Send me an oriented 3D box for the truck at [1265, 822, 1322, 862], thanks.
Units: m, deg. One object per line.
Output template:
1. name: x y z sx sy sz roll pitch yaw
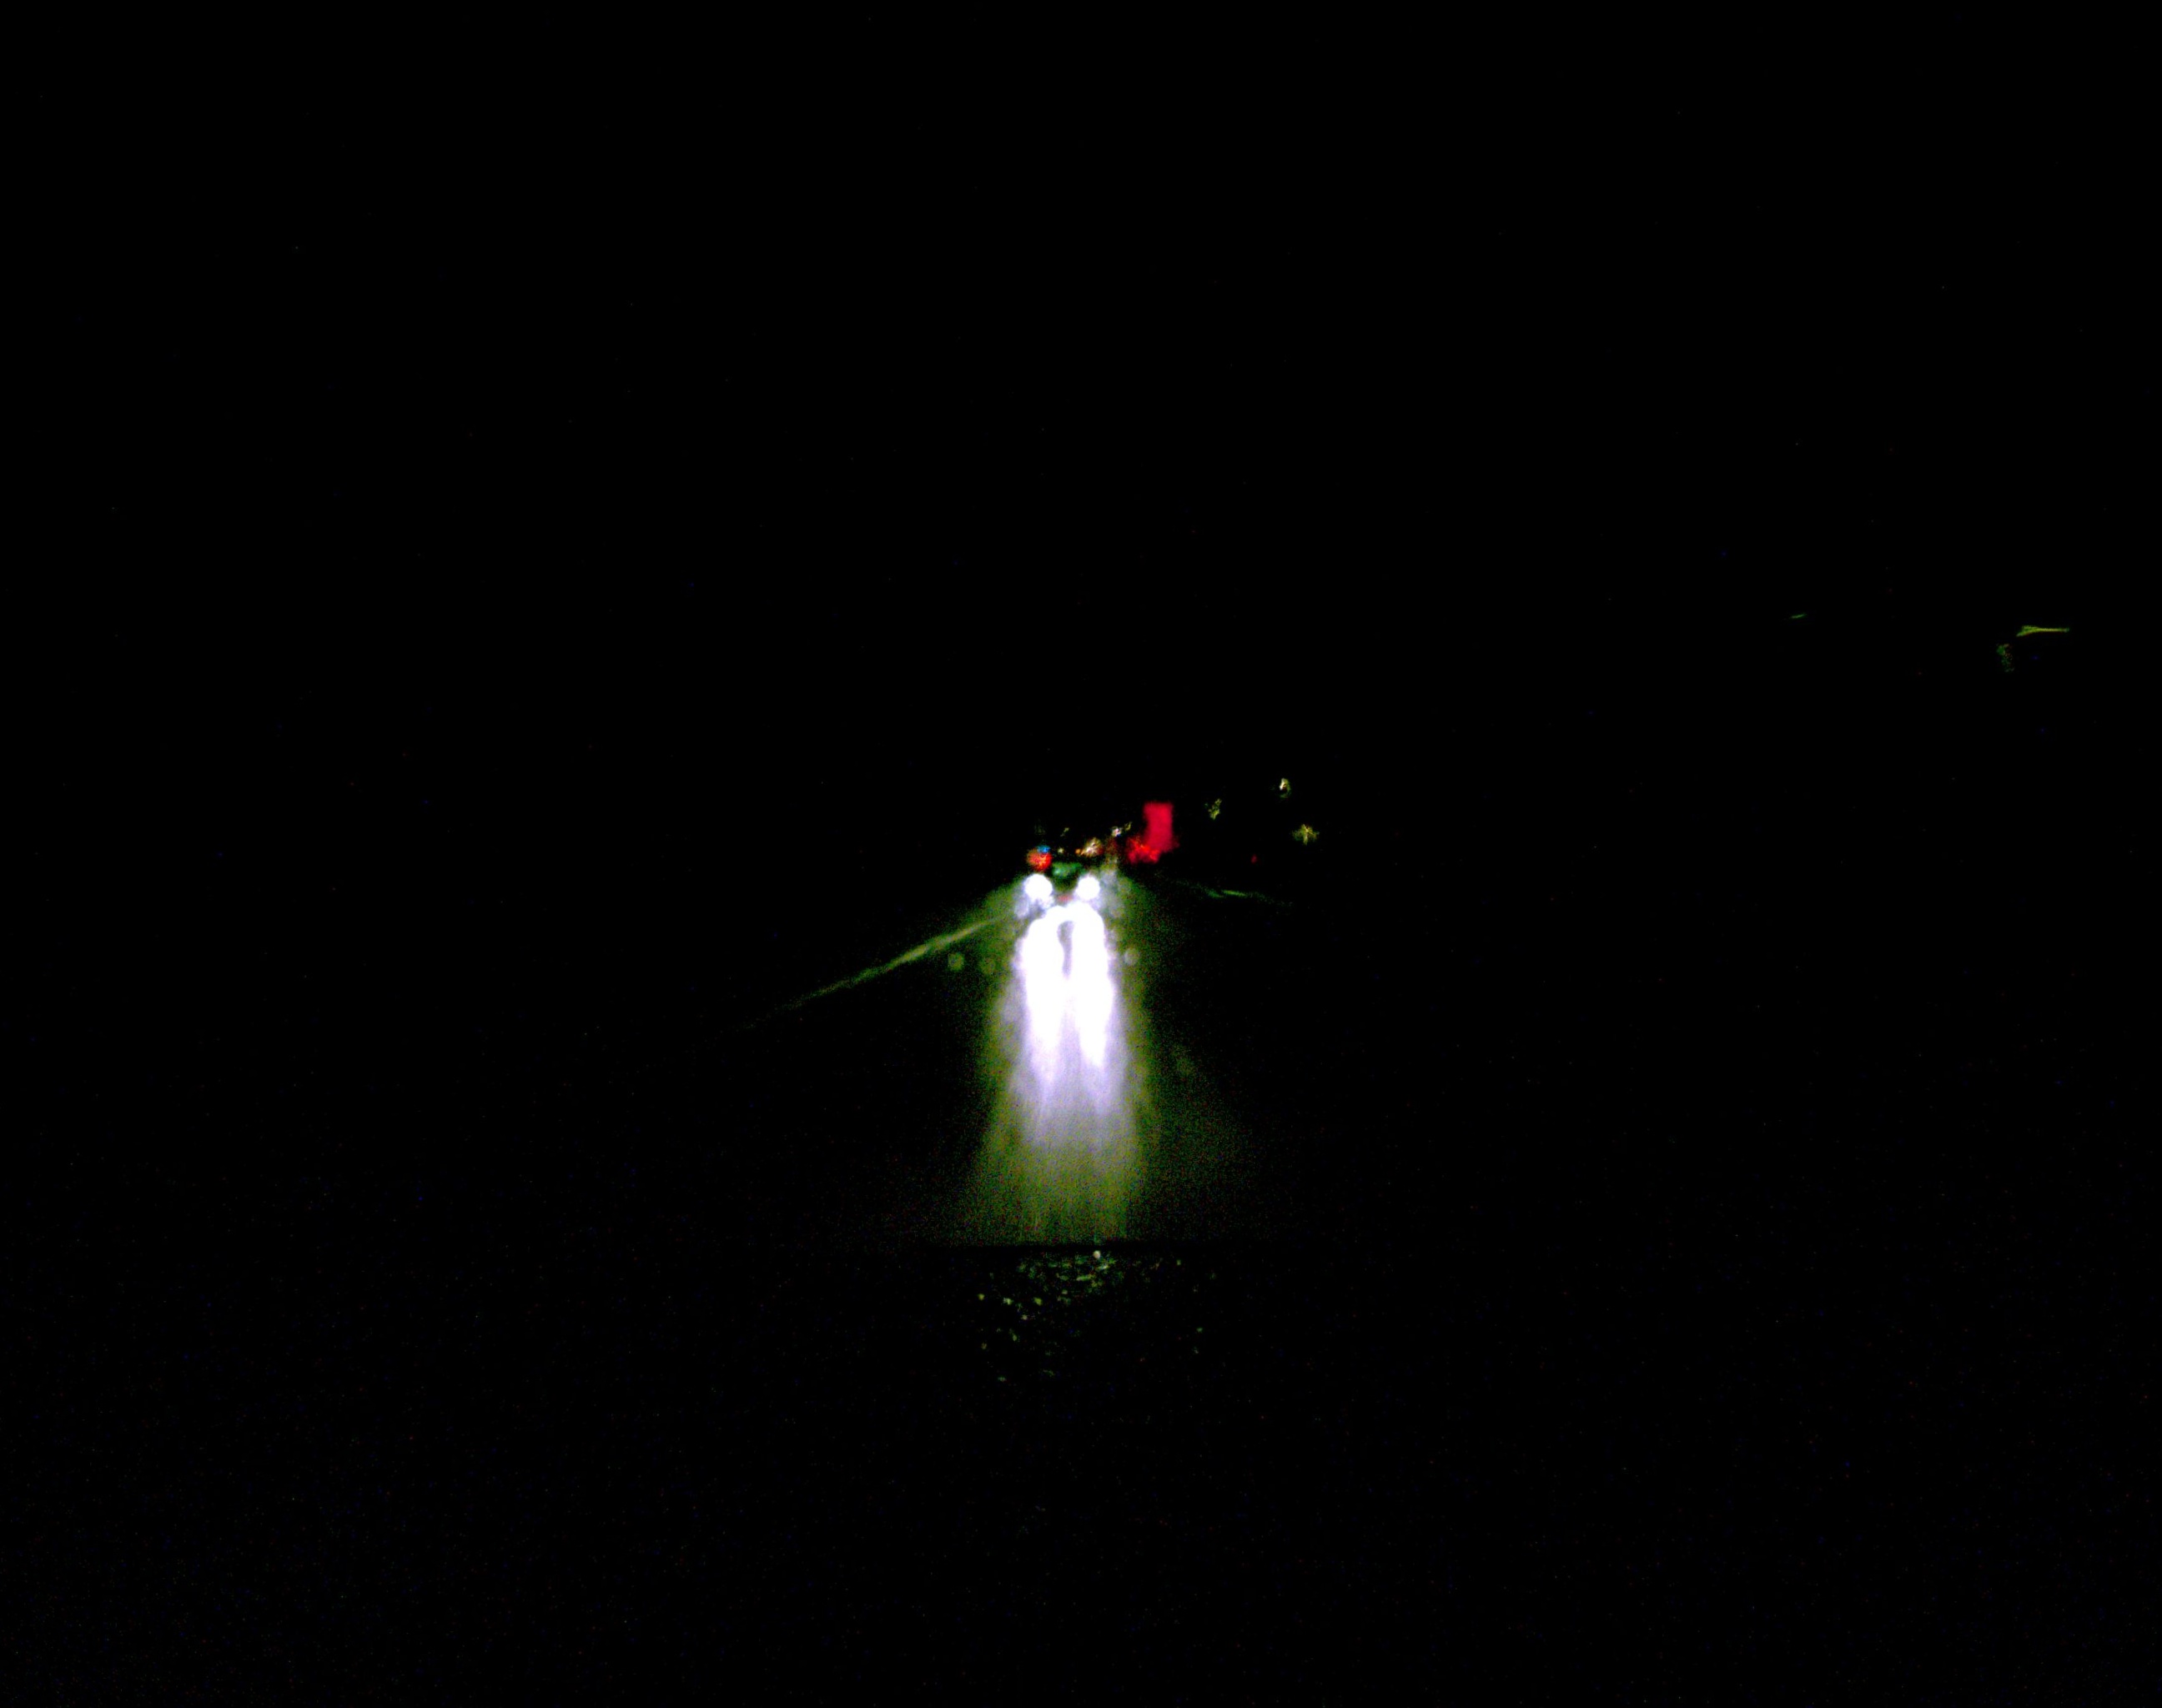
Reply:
1. truck: 27.213 -1.507 98.095 3.449 4.583 10.208 -5 1 -4

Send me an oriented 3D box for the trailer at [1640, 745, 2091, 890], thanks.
1. trailer: 32.083 -1.287 33.052 3.982 4.583 14.241 -5 1 -4

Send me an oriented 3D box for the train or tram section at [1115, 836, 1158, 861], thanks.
1. train or tram section: 9.885 -0.941 141.700 2.704 3.793 37.130 -5 1 -4

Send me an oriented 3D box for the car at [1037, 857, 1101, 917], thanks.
1. car: -0.475 0.997 24.115 1.791 1.683 4.218 -2 -1 -4

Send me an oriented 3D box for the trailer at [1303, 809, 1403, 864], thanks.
1. trailer: 28.524 -1.701 81.021 3.982 4.984 14.829 -5 1 -4

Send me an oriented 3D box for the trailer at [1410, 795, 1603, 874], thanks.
1. trailer: 29.826 -1.260 54.957 3.982 4.583 15.508 -5 1 -4

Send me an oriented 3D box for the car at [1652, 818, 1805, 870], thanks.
1. car: 23.828 -0.301 28.194 1.791 1.683 4.217 -4 -1 -5
